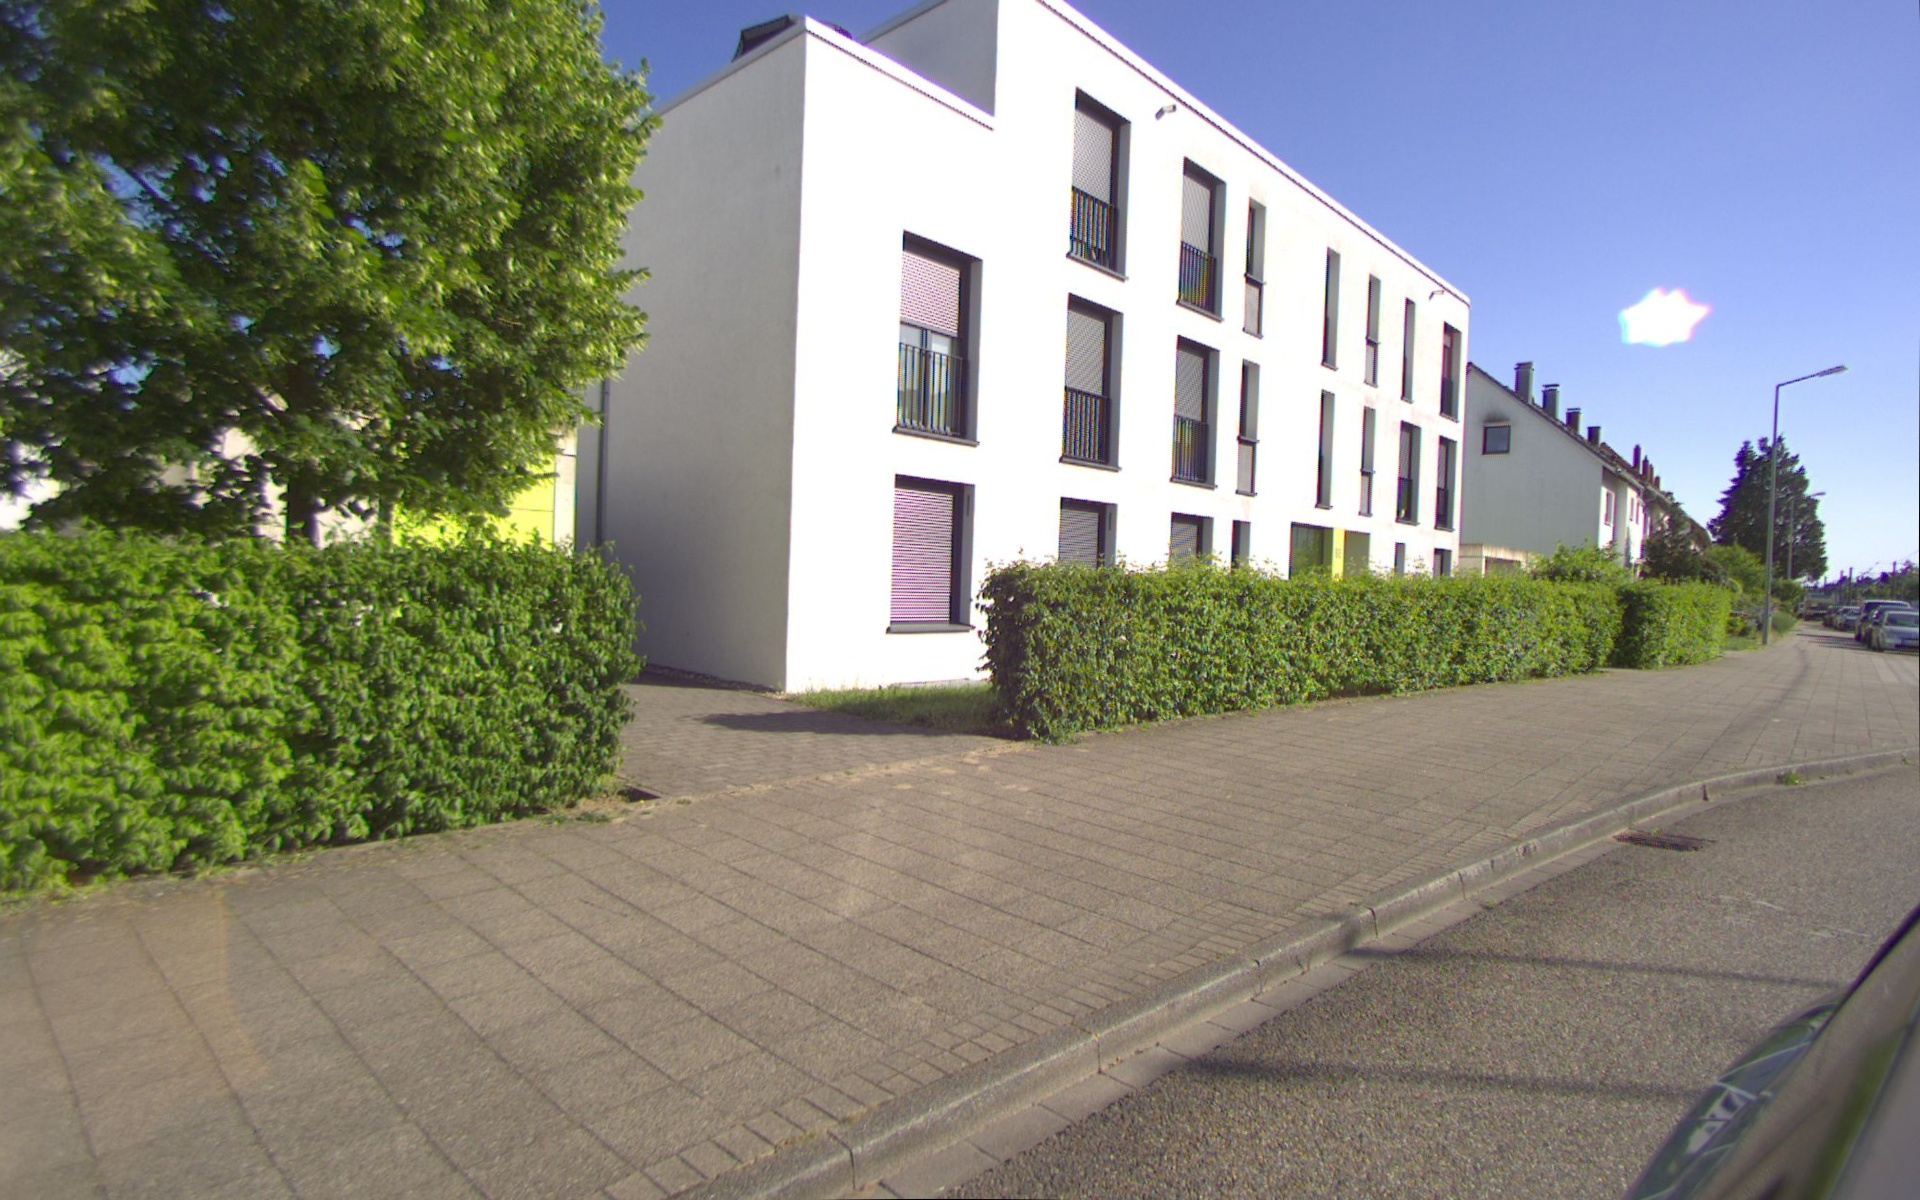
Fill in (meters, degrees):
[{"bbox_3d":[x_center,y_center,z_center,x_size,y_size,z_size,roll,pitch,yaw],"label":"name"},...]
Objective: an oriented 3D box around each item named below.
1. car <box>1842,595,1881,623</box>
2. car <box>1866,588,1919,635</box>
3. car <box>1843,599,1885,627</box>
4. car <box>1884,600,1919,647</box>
[{"bbox_3d":[58.159,0.548,65.271,1.696,1.633,3.950,5,3,43],"label":"car"},{"bbox_3d":[43.020,0.511,46.494,1.889,1.986,3.950,5,3,43],"label":"car"},{"bbox_3d":[53.764,0.743,60.179,1.696,1.492,3.950,5,3,43],"label":"car"},{"bbox_3d":[32.909,0.806,34.692,1.696,1.492,3.950,5,3,43],"label":"car"}]
